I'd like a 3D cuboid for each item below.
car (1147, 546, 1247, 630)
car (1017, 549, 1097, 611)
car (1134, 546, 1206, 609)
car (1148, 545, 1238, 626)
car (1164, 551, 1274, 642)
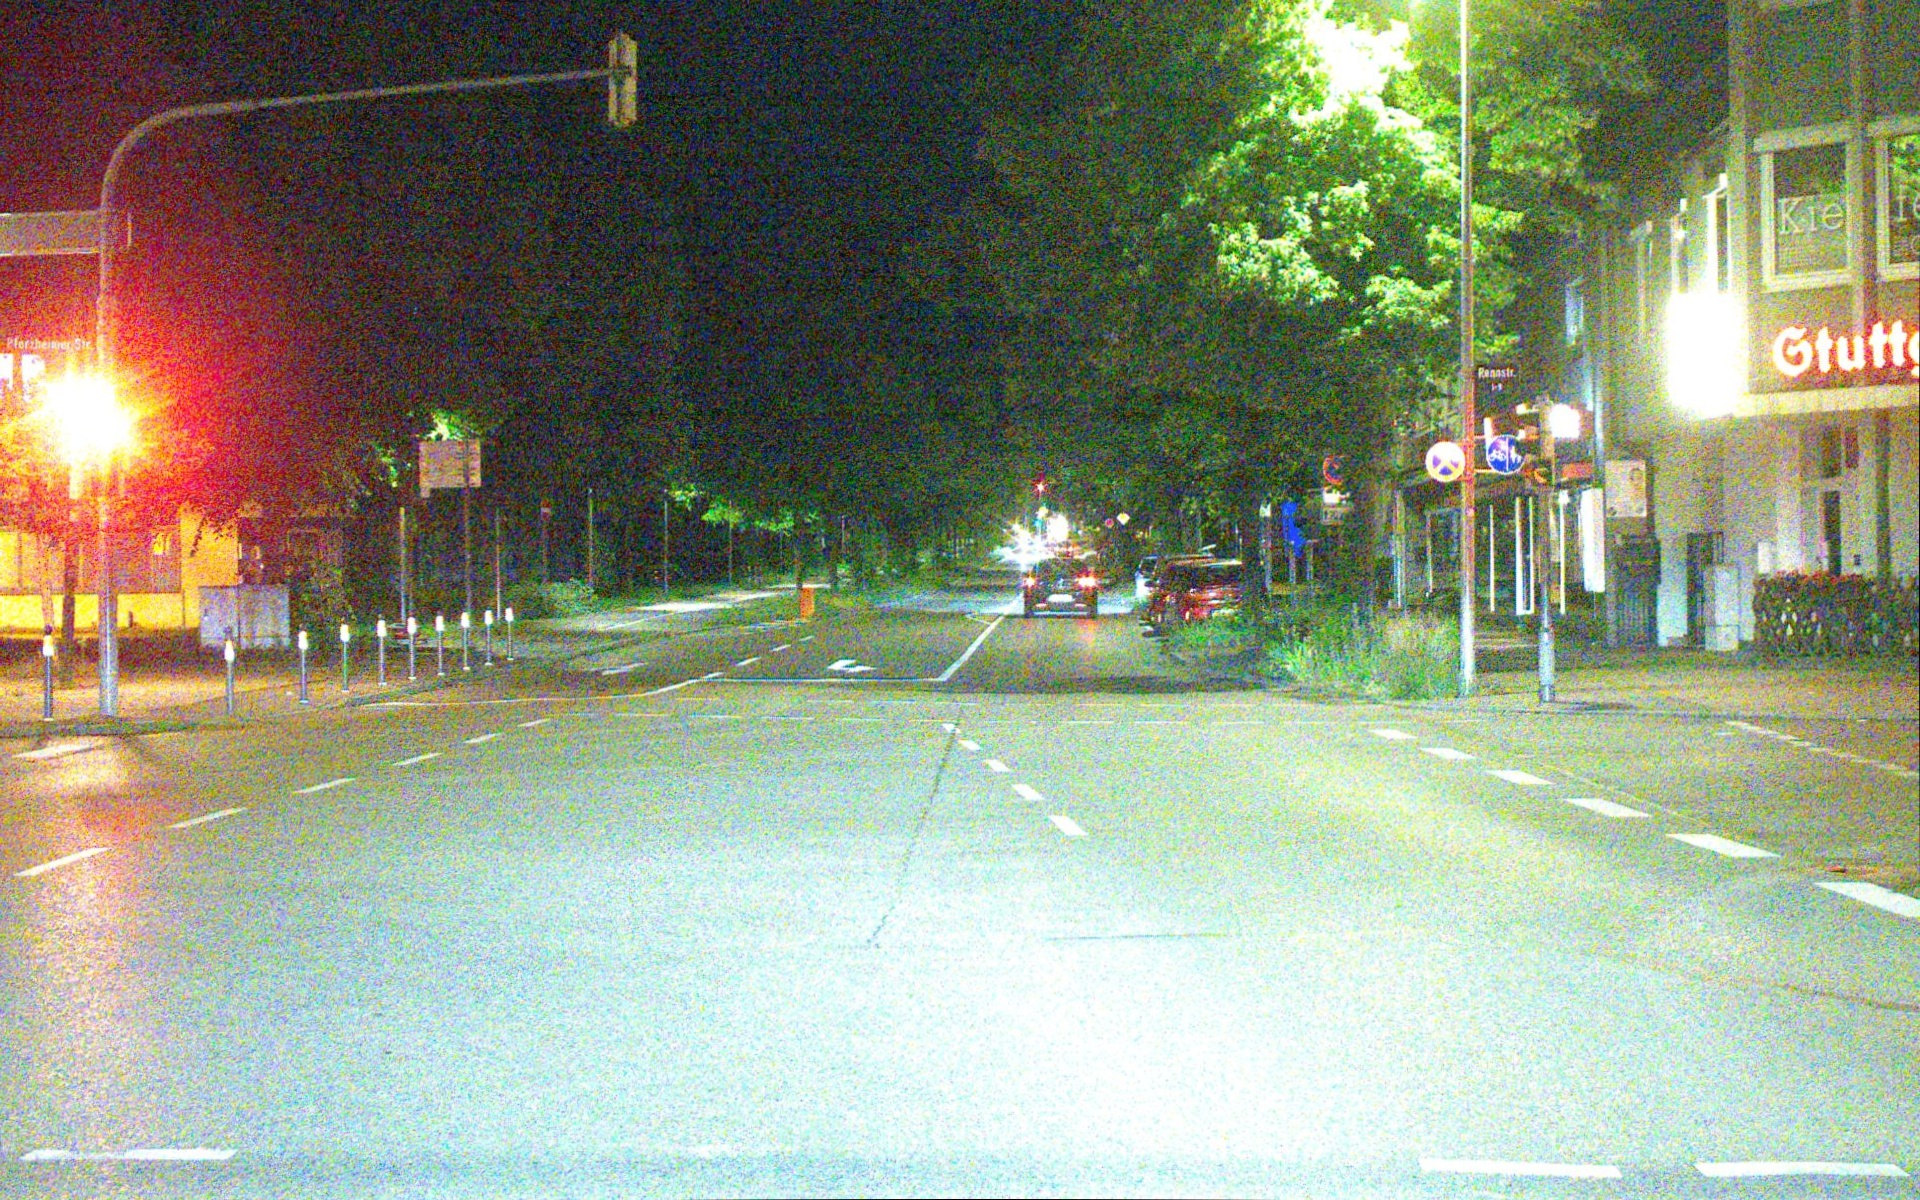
[{"bbox_3d":[4.707,-0.254,68.804,1.876,1.610,4.000,0,1,2],"label":"car"},{"bbox_3d":[2.394,-0.489,83.772,1.874,1.449,4.316,1,1,2],"label":"car"},{"bbox_3d":[5.749,-0.627,94.504,1.876,1.678,4.000,0,1,2],"label":"car"},{"bbox_3d":[5.166,-0.334,76.475,1.876,1.723,4.000,0,1,2],"label":"car"},{"bbox_3d":[4.756,-0.081,63.547,1.876,1.610,4.000,0,1,2],"label":"car"}]
